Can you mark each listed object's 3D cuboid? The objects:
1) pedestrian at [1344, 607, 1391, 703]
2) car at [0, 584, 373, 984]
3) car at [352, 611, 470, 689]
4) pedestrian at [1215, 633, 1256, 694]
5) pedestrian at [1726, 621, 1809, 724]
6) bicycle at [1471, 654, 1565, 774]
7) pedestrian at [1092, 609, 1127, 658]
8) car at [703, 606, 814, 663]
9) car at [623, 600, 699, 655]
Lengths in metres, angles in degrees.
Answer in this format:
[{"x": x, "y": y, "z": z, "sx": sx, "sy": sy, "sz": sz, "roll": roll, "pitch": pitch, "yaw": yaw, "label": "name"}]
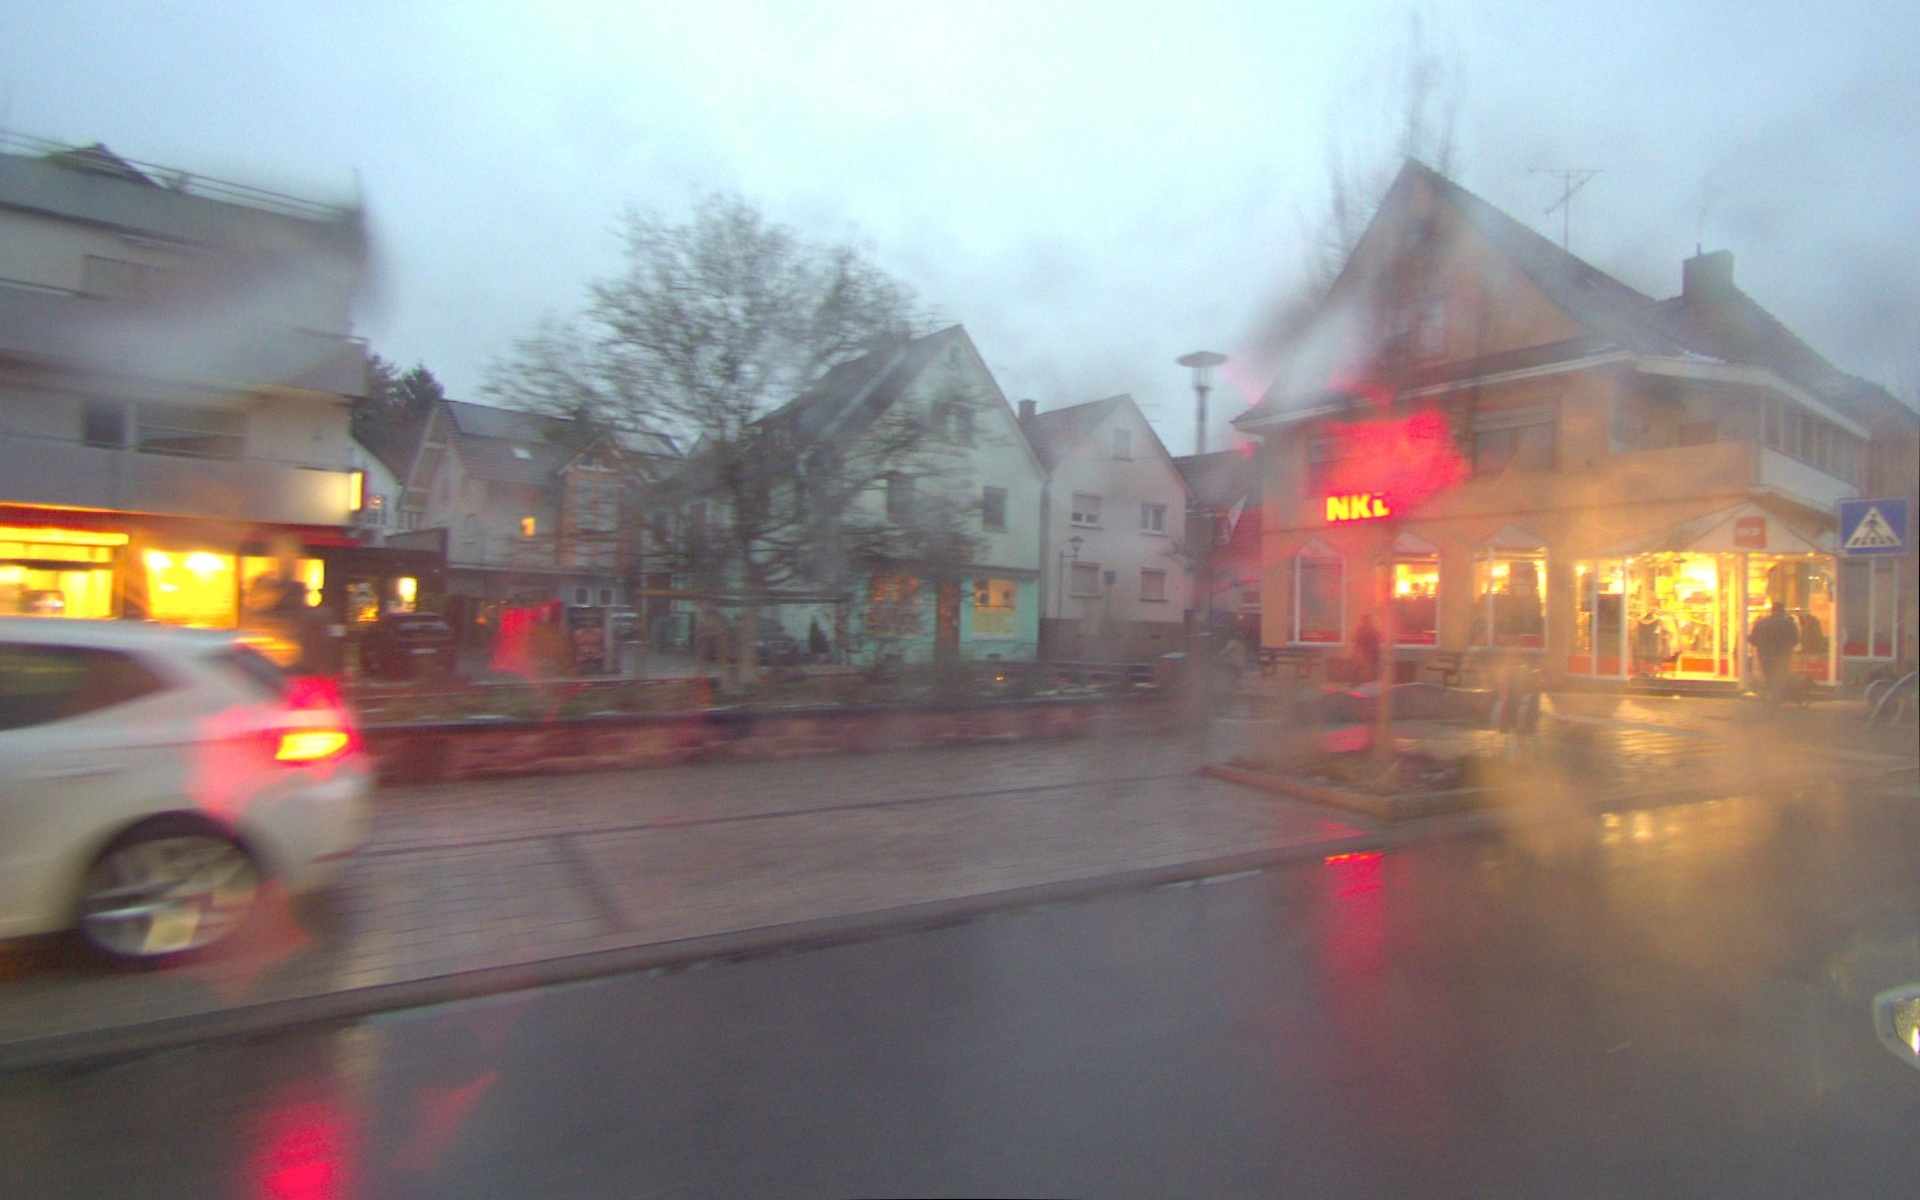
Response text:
[{"x": 8.928, "y": 1.188, "z": 22.046, "sx": 0.721, "sy": 2.040, "sz": 0.826, "roll": 1, "pitch": 1, "yaw": 9, "label": "pedestrian"}, {"x": -4.834, "y": 0.675, "z": 4.134, "sx": 4.134, "sy": 1.508, "sz": 1.775, "roll": 2, "pitch": 0, "yaw": -31, "label": "car"}, {"x": -14.371, "y": 1.268, "z": 26.201, "sx": 1.984, "sy": 1.868, "sz": 3.954, "roll": 1, "pitch": -2, "yaw": -40, "label": "car"}, {"x": 6.008, "y": 1.369, "z": 21.942, "sx": 0.673, "sy": 1.262, "sz": 0.826, "roll": 1, "pitch": 1, "yaw": 1, "label": "pedestrian"}, {"x": 13.794, "y": 1.207, "z": 17.162, "sx": 1.087, "sy": 1.680, "sz": 0.820, "roll": 1, "pitch": 1, "yaw": -36, "label": "pedestrian"}, {"x": 5.799, "y": 1.144, "z": 10.397, "sx": 0.321, "sy": 1.075, "sz": 1.733, "roll": -7, "pitch": -4, "yaw": 44, "label": "bicycle"}, {"x": 5.459, "y": 1.203, "z": 36.585, "sx": 0.834, "sy": 1.738, "sz": 0.908, "roll": 0, "pitch": 1, "yaw": -41, "label": "pedestrian"}, {"x": -6.315, "y": 1.034, "z": 31.181, "sx": 1.965, "sy": 1.624, "sz": 3.960, "roll": 1, "pitch": -1, "yaw": -35, "label": "car"}, {"x": -10.831, "y": 0.967, "z": 36.297, "sx": 1.555, "sy": 1.882, "sz": 3.276, "roll": 1, "pitch": 0, "yaw": -38, "label": "car"}]
